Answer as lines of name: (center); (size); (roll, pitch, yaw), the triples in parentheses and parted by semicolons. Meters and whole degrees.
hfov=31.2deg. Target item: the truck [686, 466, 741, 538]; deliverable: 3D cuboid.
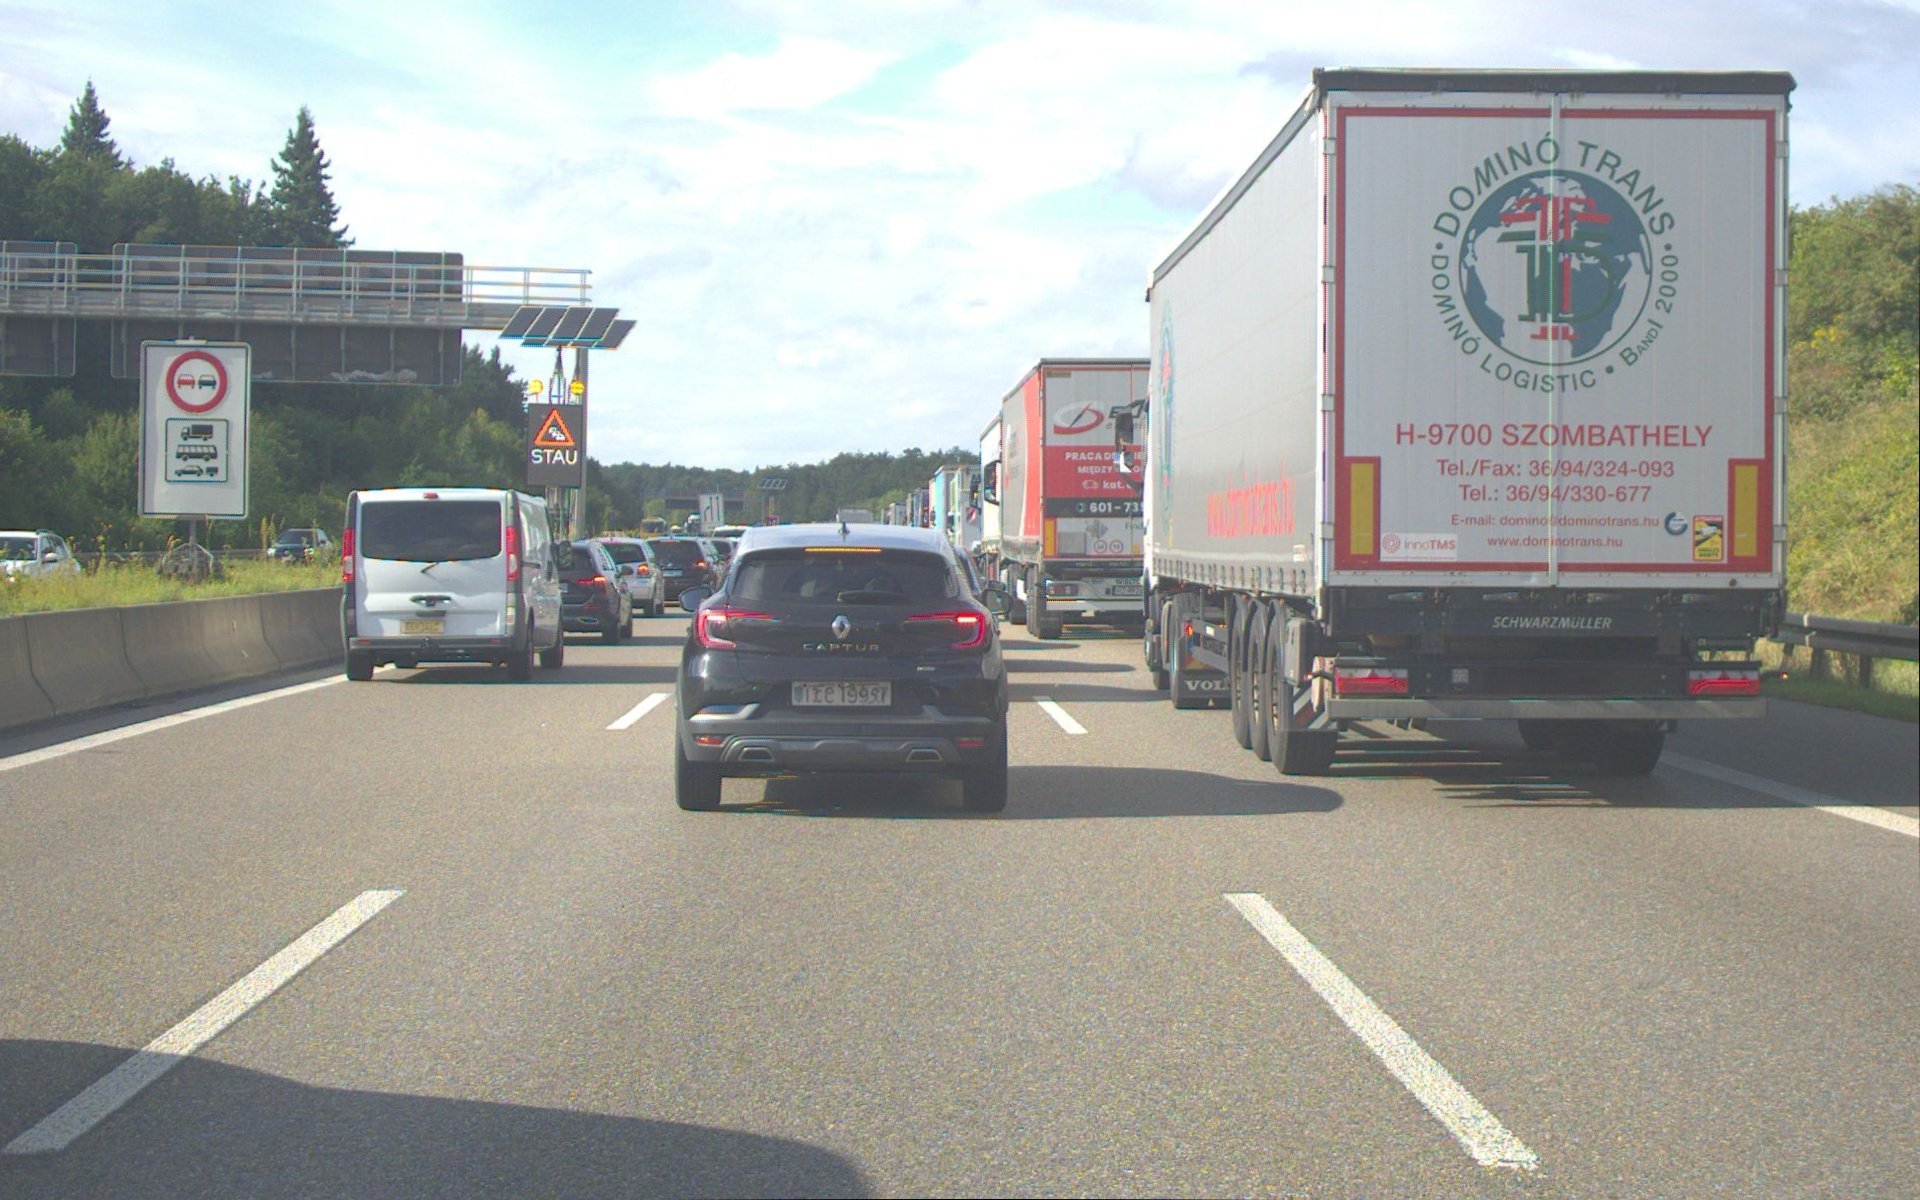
truck: (-12.915, -5.105, 180.220); (2.344, 3.582, 6.306); (4, 1, -1)

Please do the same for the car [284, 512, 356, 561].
car: (-23.908, -2.378, 128.502); (1.888, 1.678, 4.000); (4, 1, -1)

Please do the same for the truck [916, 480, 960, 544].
truck: (-1.116, -4.353, 170.981); (1.993, 3.042, 4.982); (4, 1, -1)

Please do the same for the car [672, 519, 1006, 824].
car: (-0.601, 0.321, 19.875); (1.697, 1.477, 4.160); (1, 2, 1)

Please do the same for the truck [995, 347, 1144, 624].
truck: (1.735, -1.825, 56.660); (2.134, 4.267, 6.339); (1, 1, -1)

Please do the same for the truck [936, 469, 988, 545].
truck: (0.062, -3.954, 147.182); (1.993, 3.042, 4.982); (4, 1, -1)

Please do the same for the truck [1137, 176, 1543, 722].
truck: (3.114, -1.218, 29.912); (2.786, 4.232, 6.460); (0, 1, 0)

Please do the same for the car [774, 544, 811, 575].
car: (-6.458, -1.575, 132.878); (1.360, 1.155, 3.085); (0, 1, -1)

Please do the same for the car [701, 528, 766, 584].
car: (-5.755, -1.128, 87.598); (1.434, 1.305, 3.534); (4, 1, -2)

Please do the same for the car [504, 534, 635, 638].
car: (-5.438, -0.221, 48.158); (1.500, 1.391, 3.476); (1, 1, -1)

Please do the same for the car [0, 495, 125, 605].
car: (-15.194, -0.841, 56.569); (1.888, 1.678, 4.000); (4, 1, -1)

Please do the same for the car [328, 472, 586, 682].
car: (-5.291, -0.266, 36.835); (1.933, 1.972, 5.099); (4, 1, 0)

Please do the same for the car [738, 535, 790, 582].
car: (-5.841, -1.240, 102.637); (1.361, 1.296, 3.085); (4, 1, -1)

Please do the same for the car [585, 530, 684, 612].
car: (-6.044, -0.547, 64.133); (1.500, 1.391, 3.476); (4, 1, -1)

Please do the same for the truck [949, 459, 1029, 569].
truck: (0.786, -2.407, 97.530); (1.993, 2.922, 4.982); (4, 1, -1)

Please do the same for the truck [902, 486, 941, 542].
truck: (-2.188, -4.893, 196.466); (1.993, 3.042, 4.982); (4, 1, -1)

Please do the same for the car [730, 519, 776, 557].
car: (-6.760, -2.024, 112.409); (1.360, 1.234, 3.085); (1, 1, -1)

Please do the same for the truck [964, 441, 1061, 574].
truck: (1.207, -2.159, 81.383); (1.993, 2.922, 4.982); (4, 1, -1)

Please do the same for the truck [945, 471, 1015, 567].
truck: (0.625, -2.608, 111.465); (1.993, 2.922, 4.982); (4, 1, -1)

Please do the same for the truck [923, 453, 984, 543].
truck: (-0.246, -3.658, 124.262); (1.993, 3.042, 4.982); (4, 1, -1)

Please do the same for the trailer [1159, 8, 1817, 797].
trailer: (3.151, -1.135, 23.966); (2.802, 4.229, 11.057); (0, 1, 0)

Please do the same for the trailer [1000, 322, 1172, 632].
trailer: (1.793, -1.760, 51.721); (2.150, 4.244, 8.441); (1, 1, -1)

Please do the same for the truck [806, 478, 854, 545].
truck: (-7.318, -4.945, 194.166); (2.344, 3.582, 6.306); (4, 1, -1)

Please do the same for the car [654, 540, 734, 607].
car: (-5.615, -0.575, 72.759); (1.434, 1.305, 3.534); (4, 1, -2)
